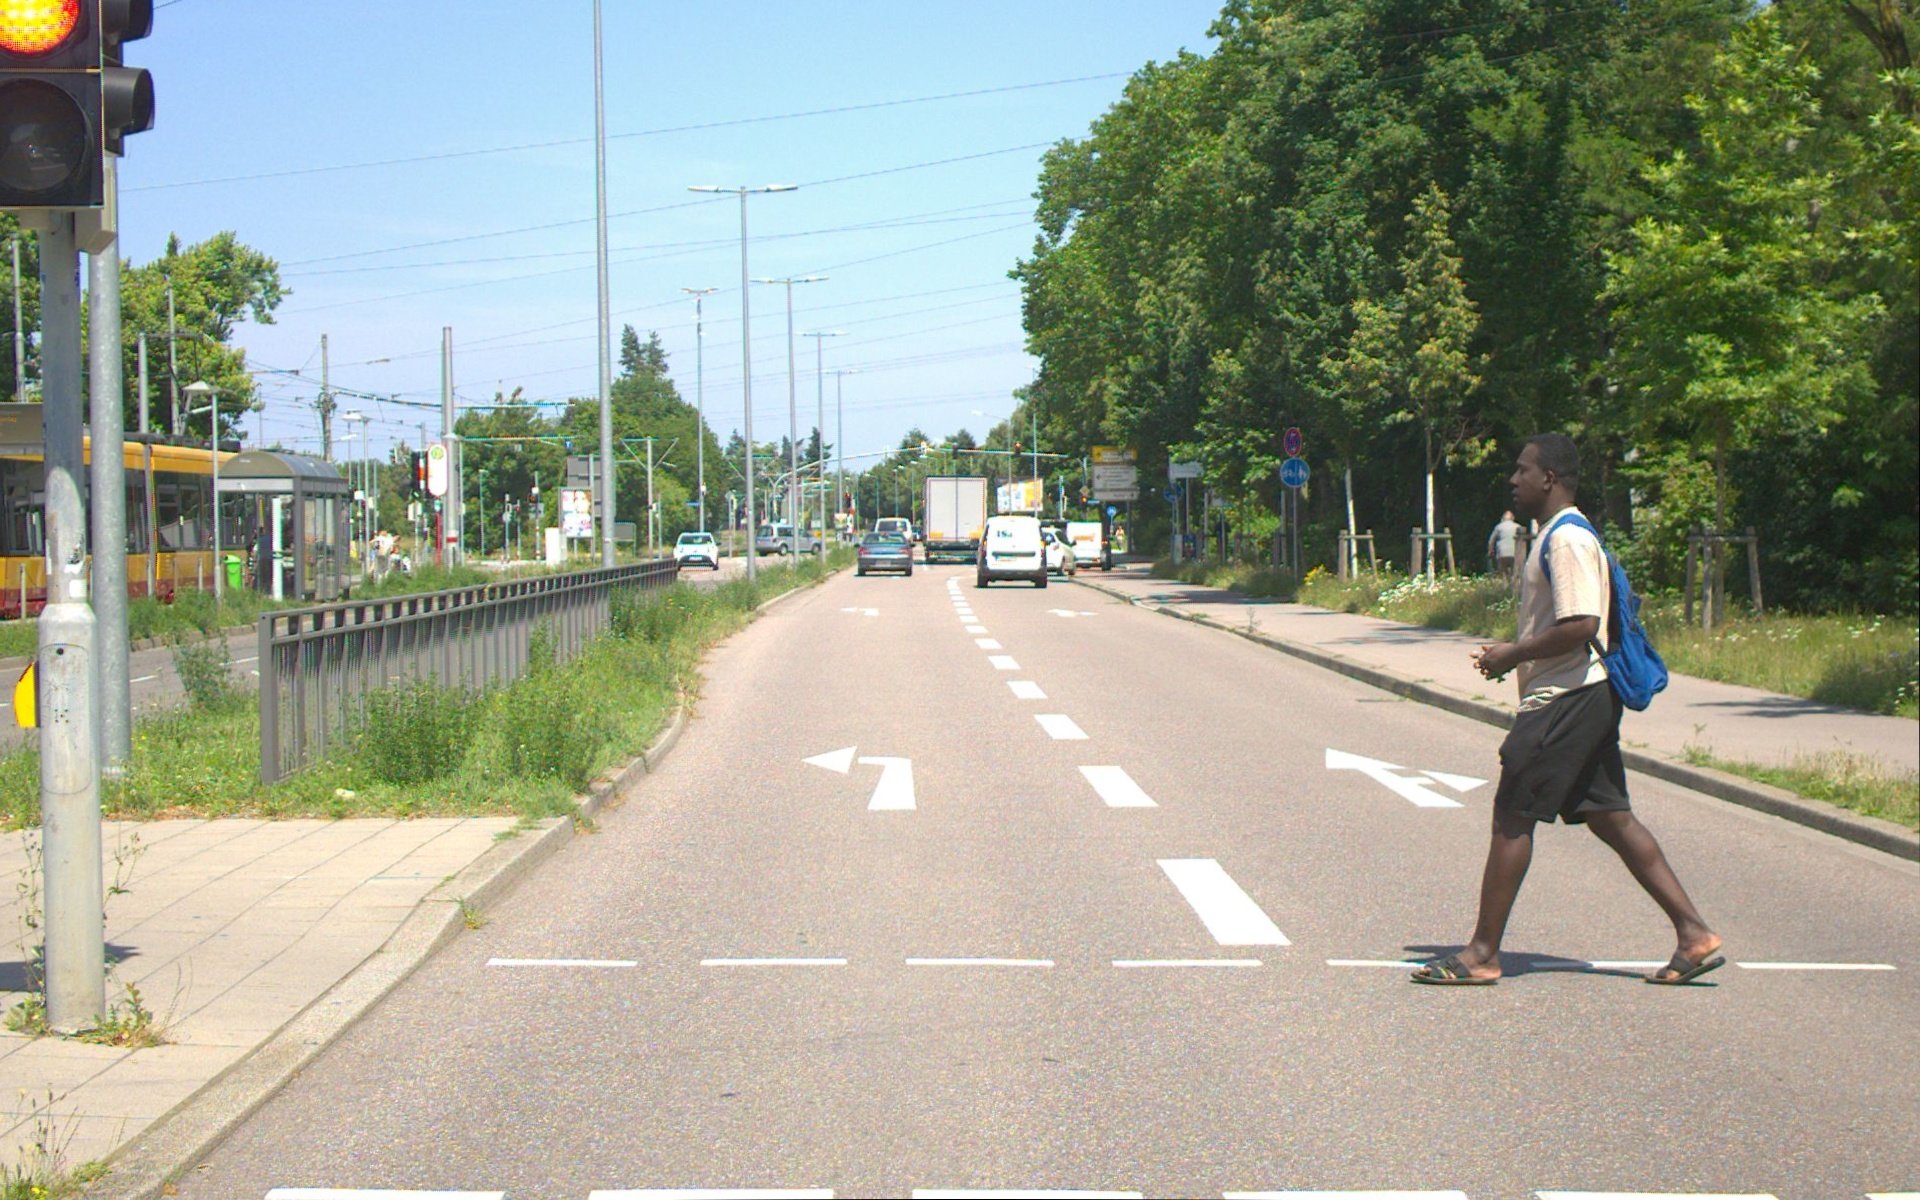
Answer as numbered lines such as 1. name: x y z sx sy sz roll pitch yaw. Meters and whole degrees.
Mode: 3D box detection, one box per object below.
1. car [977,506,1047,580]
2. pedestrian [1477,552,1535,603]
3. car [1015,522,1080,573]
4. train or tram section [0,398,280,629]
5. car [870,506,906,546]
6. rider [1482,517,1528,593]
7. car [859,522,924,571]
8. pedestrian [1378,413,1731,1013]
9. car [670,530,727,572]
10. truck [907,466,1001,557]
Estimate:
1. car: 1.316 -1.471 87.118 1.728 1.807 4.000 1 2 1
2. pedestrian: 9.205 -0.386 57.989 0.678 0.845 1.774 0 1 -1
3. car: 2.752 -1.688 108.691 1.803 1.534 4.001 -1 2 -2
4. train or tram section: -16.718 -1.592 65.192 2.787 3.655 26.001 0 1 -1
5. car: -3.454 -3.550 165.523 1.687 1.891 3.871 0 1 -1
6. rider: 9.193 -0.757 57.983 0.678 1.277 0.534 0 1 -1
7. car: -2.134 -1.700 107.893 1.802 1.481 4.000 0 1 2
8. pedestrian: 1.925 0.337 11.067 1.047 1.844 0.757 1 1 14
9. car: -10.329 -1.952 135.976 1.993 1.644 4.000 0 1 -1
10. truck: -0.331 -3.858 149.809 3.899 3.799 10.794 0 1 -1
